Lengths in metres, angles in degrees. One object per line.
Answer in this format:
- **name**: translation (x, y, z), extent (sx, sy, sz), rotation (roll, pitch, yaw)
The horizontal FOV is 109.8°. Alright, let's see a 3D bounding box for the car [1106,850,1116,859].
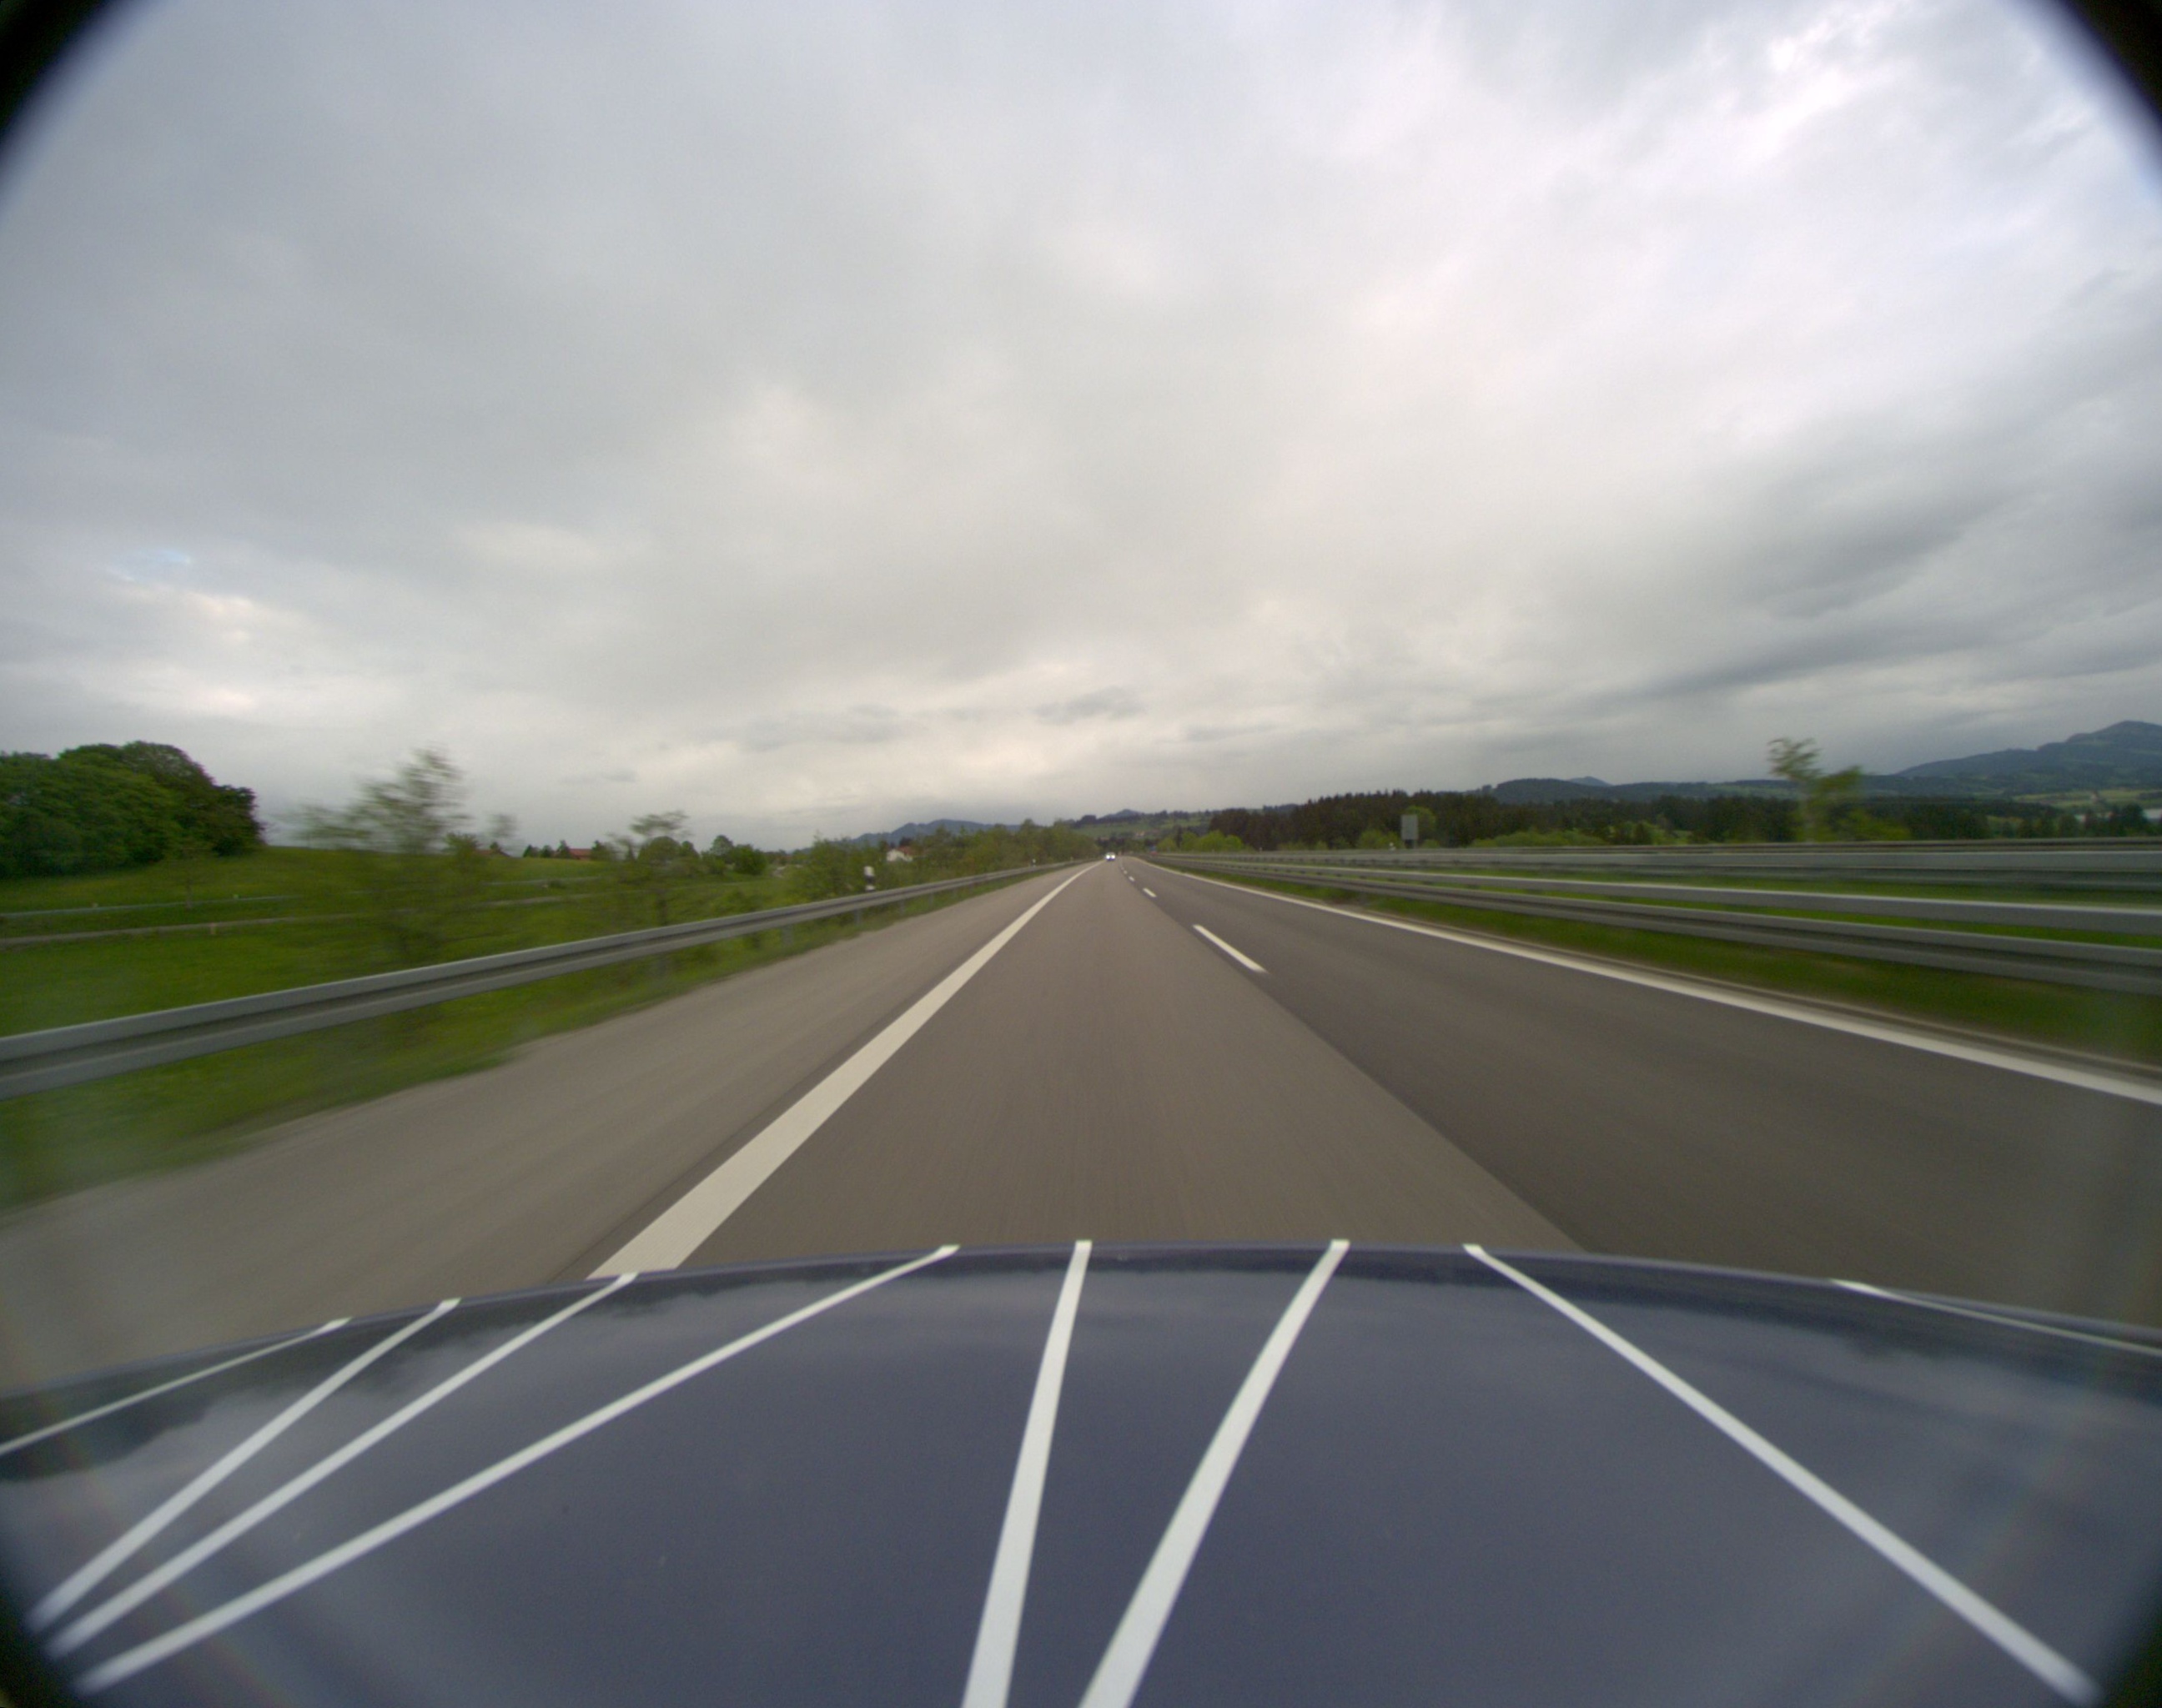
- **car**: translation (6.679, 0.151, 170.006), extent (2.021, 1.899, 4.222), rotation (-2, 0, 3)
